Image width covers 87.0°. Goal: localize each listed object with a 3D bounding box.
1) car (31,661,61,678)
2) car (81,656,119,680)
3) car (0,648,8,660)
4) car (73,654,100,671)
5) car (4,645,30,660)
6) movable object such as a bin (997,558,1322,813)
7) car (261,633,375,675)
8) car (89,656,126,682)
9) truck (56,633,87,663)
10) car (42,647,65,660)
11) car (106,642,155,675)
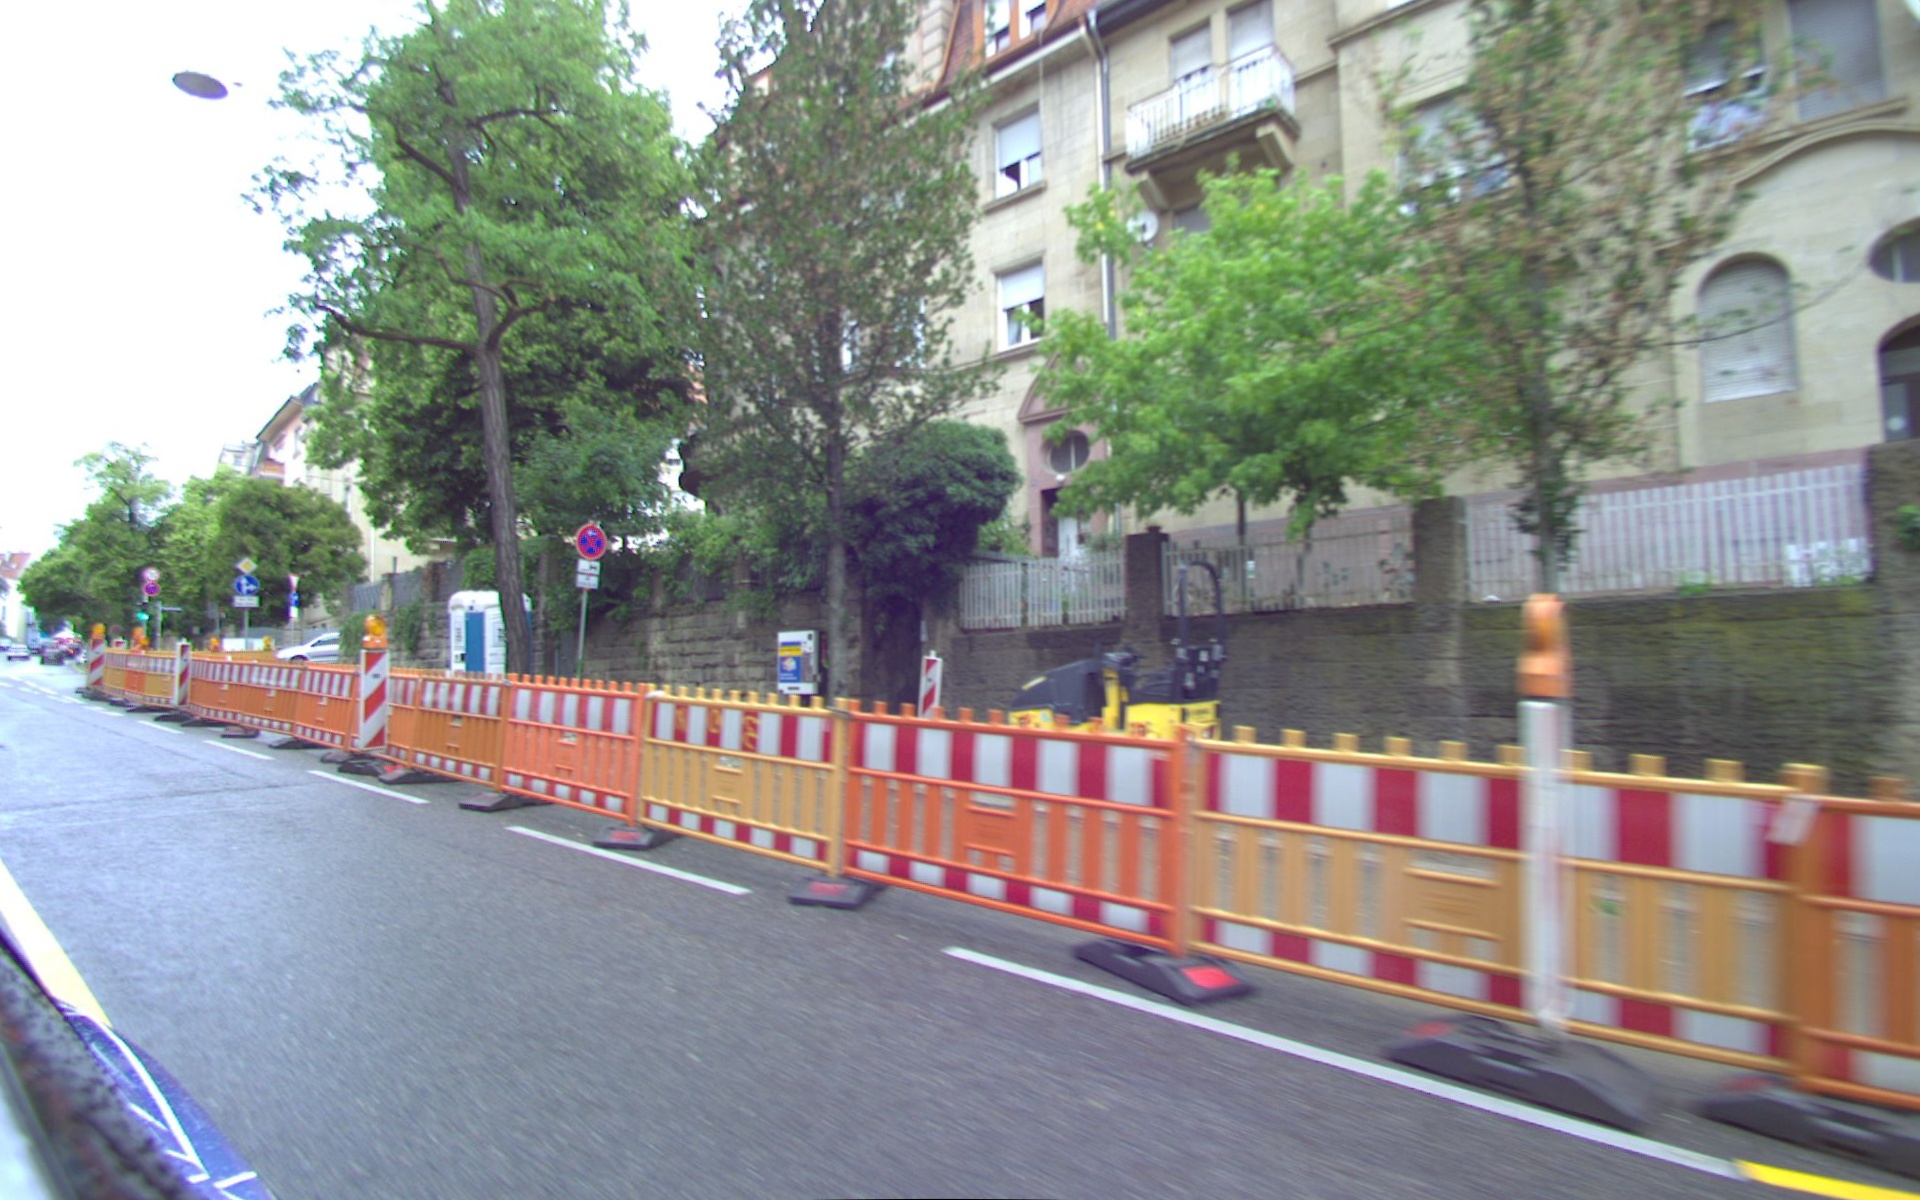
[{"bbox_3d":[-92.227,7.036,102.076,4.548,1.529,1.795,-7,-9,43],"label":"car"},{"bbox_3d":[-62.588,4.892,73.604,4.304,1.571,1.722,-3,-1,45],"label":"car"},{"bbox_3d":[-124.351,6.909,130.385,1.896,1.573,4.020,7,-6,-38],"label":"car"},{"bbox_3d":[-85.646,6.135,99.231,1.721,1.571,4.305,0,-2,-44],"label":"car"},{"bbox_3d":[-100.366,5.548,107.731,1.749,1.529,4.106,3,-4,-39],"label":"car"},{"bbox_3d":[2.098,0.864,10.896,2.816,2.317,1.971,-3,-5,45],"label":"movable object such as a bin"},{"bbox_3d":[-26.714,2.212,42.146,3.812,1.419,1.830,-2,1,-38],"label":"car"},{"bbox_3d":[-56.966,4.583,67.605,1.720,1.571,4.307,0,-2,-42],"label":"car"},{"bbox_3d":[-119.849,6.572,136.599,2.614,3.884,9.323,5,-6,-39],"label":"truck"},{"bbox_3d":[-113.992,6.710,127.301,1.689,1.491,4.123,5,-5,-36],"label":"car"},{"bbox_3d":[-42.626,2.976,51.968,1.720,1.571,4.307,0,-2,-42],"label":"car"}]
